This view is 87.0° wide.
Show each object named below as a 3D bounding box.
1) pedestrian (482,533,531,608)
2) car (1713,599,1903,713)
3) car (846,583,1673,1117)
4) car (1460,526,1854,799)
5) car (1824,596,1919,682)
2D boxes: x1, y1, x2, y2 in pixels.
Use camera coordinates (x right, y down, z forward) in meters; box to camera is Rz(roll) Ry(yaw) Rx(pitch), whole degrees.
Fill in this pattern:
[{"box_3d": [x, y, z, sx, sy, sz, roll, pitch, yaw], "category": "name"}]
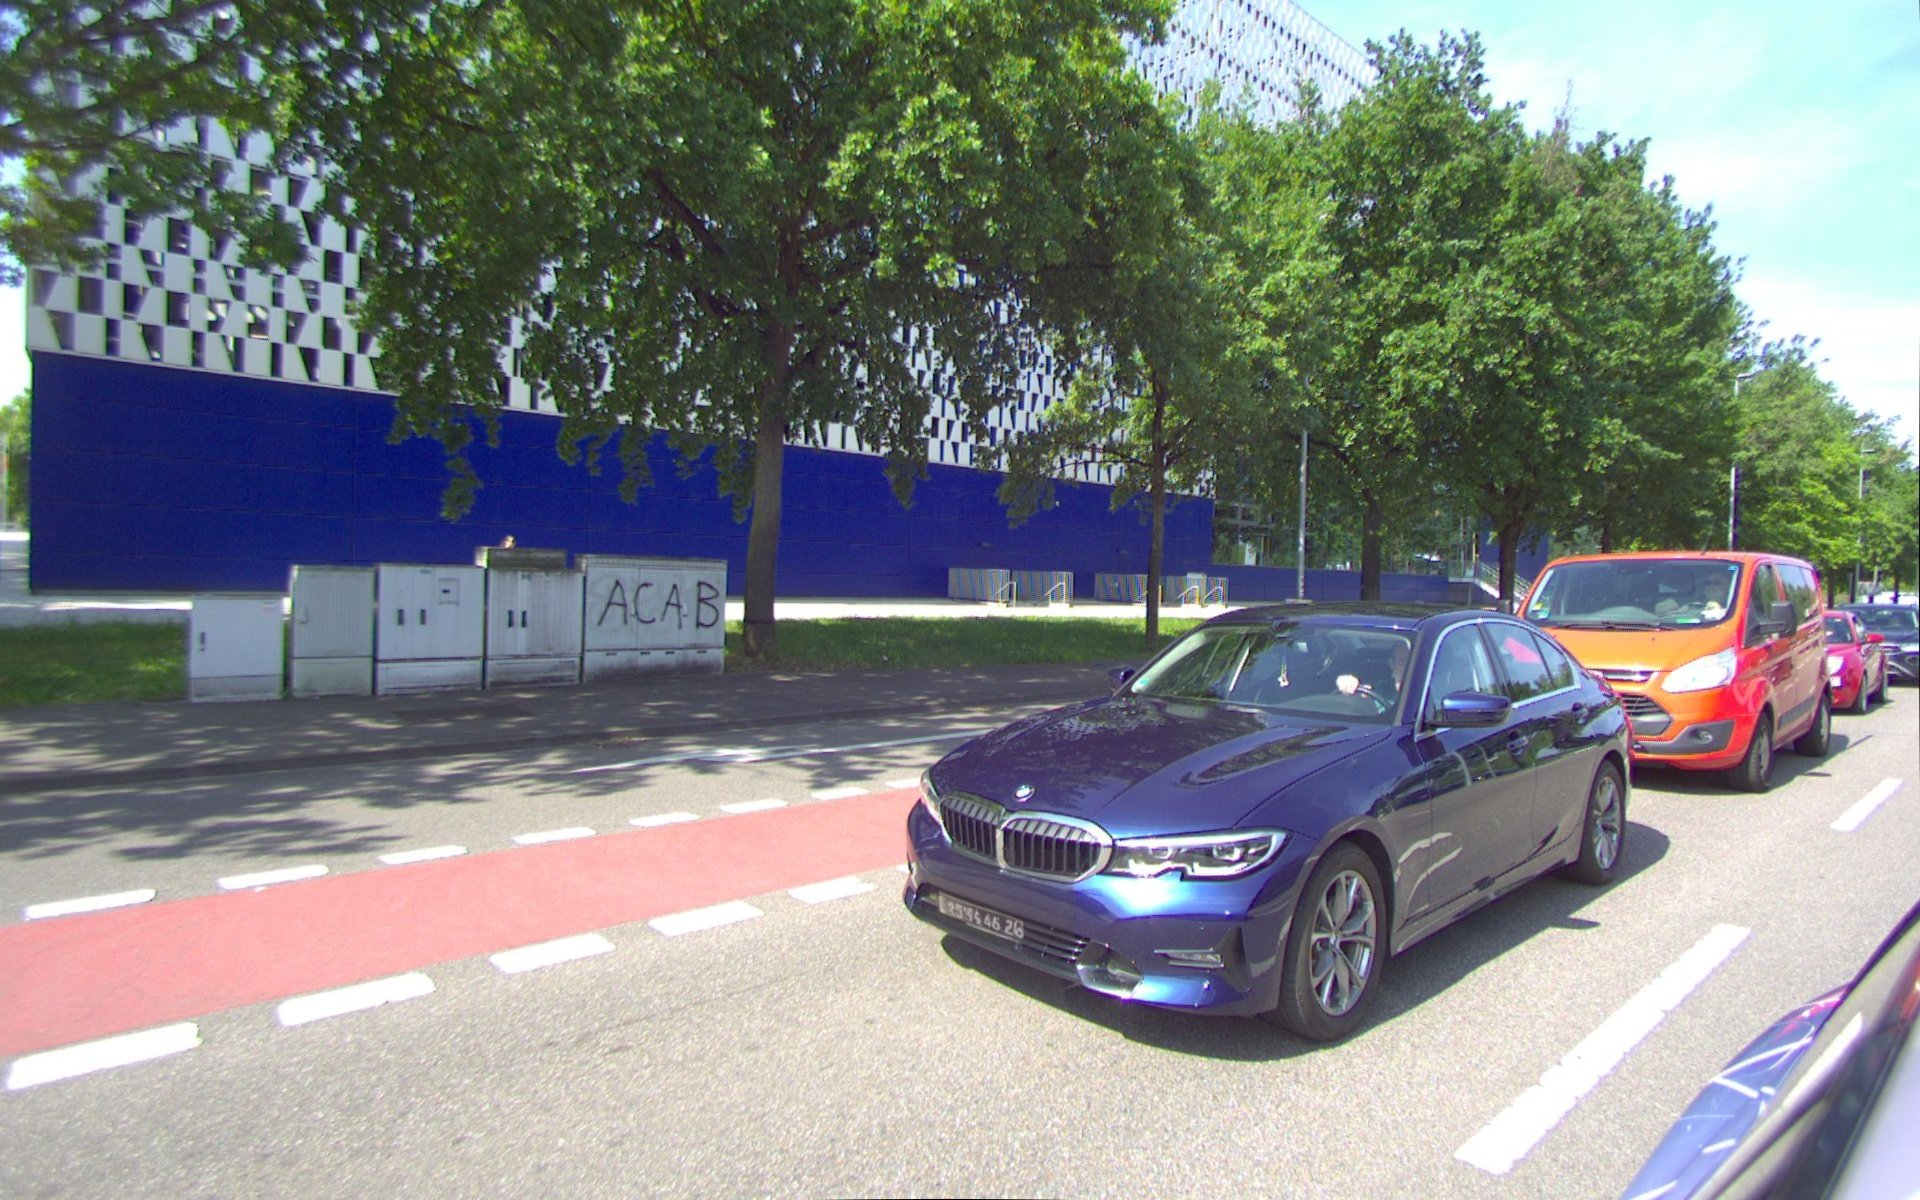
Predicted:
[{"box_3d": [-9.625, -0.622, 21.488, 0.767, 1.565, 0.680, 1, 2, -41], "category": "pedestrian"}, {"box_3d": [12.662, 0.725, 15.037, 3.849, 1.440, 1.690, 0, 1, -43], "category": "car"}, {"box_3d": [1.792, 0.675, 4.932, 4.460, 1.447, 1.798, 0, 1, -42], "category": "car"}, {"box_3d": [6.704, 0.439, 9.497, 4.727, 1.931, 2.012, 0, 0, -42], "category": "car"}, {"box_3d": [18.376, 0.710, 19.900, 3.932, 1.559, 1.647, 0, -1, -43], "category": "car"}]
